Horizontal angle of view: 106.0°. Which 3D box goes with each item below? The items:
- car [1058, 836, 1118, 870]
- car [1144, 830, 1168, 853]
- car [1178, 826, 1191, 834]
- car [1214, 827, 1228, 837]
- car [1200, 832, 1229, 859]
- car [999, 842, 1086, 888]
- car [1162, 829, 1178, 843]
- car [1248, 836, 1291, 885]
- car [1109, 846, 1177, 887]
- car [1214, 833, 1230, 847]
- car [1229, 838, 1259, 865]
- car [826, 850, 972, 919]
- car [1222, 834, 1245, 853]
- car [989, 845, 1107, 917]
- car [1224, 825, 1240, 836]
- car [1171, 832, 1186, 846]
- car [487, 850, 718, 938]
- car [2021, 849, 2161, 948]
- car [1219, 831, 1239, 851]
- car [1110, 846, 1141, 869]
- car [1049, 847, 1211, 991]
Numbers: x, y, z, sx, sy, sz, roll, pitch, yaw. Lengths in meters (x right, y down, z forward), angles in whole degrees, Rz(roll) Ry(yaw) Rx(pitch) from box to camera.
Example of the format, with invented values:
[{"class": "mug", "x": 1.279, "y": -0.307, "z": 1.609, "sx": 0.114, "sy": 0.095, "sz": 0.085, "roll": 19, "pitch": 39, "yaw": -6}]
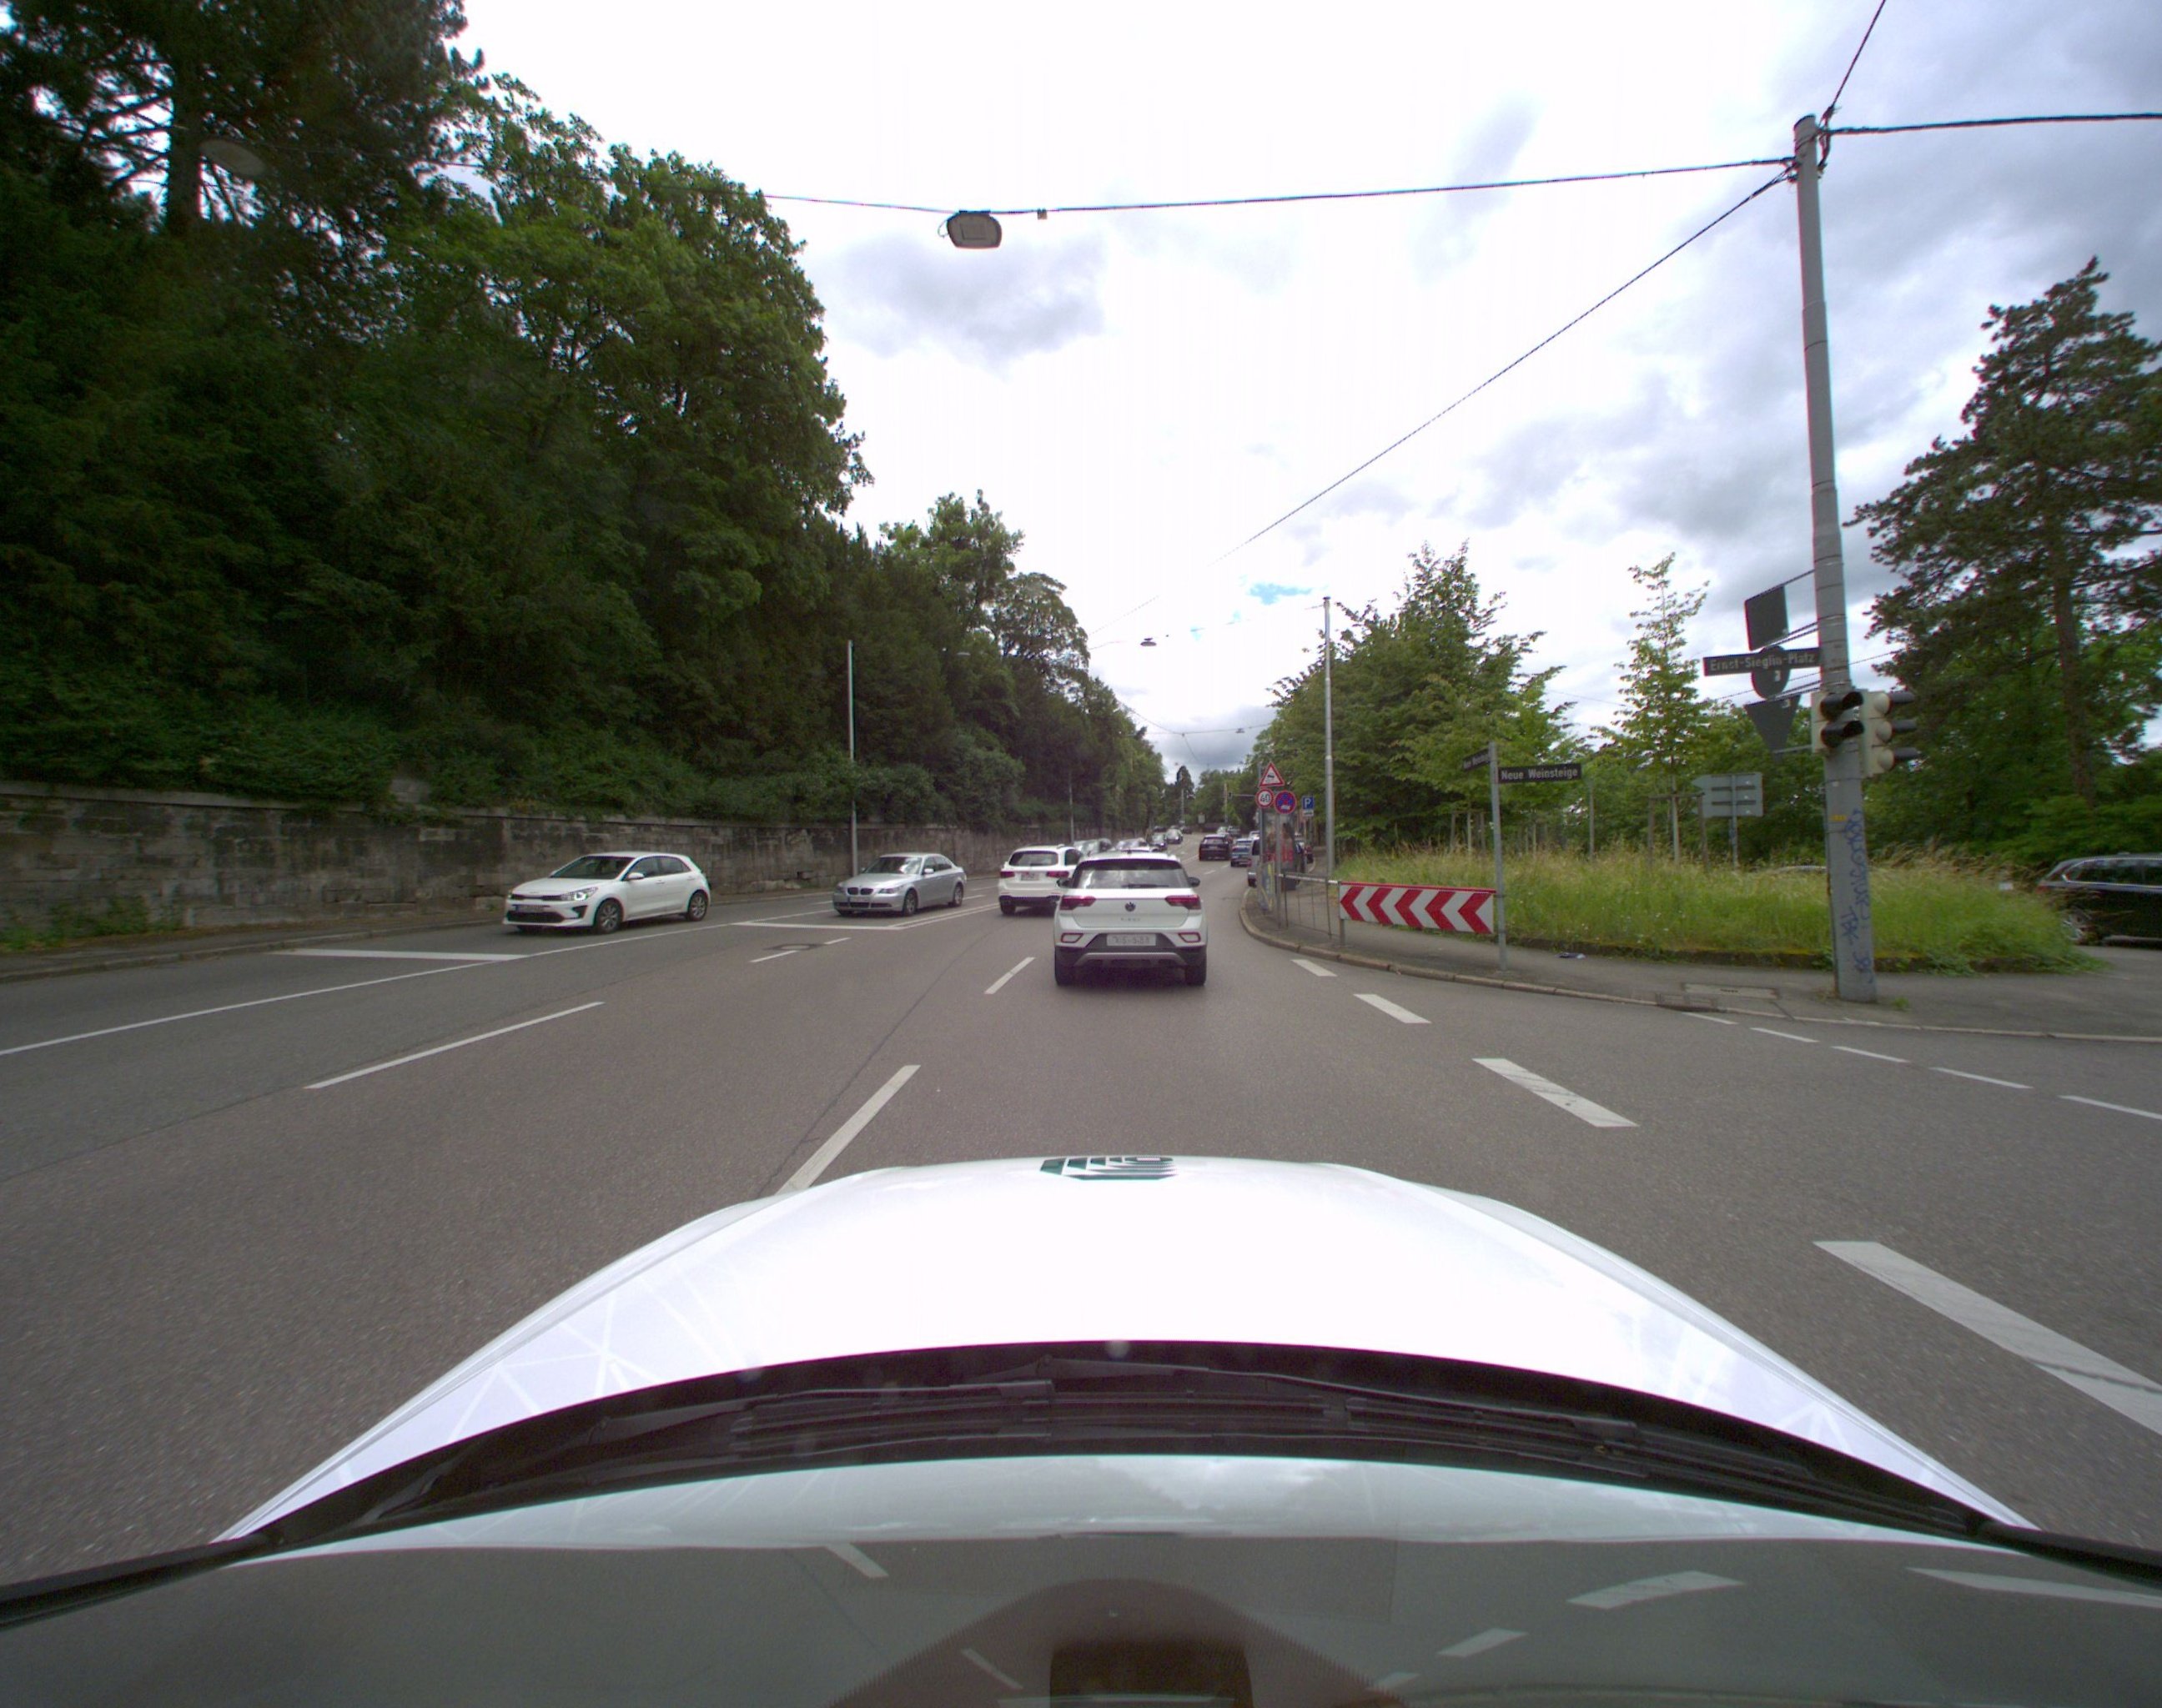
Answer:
[{"class": "car", "x": 0.396, "y": -0.078, "z": 37.694, "sx": 1.804, "sy": 1.440, "sz": 4.079, "roll": 0, "pitch": 2, "yaw": 15}, {"class": "car", "x": 6.879, "y": -1.118, "z": 74.350, "sx": 1.722, "sy": 2.013, "sz": 3.944, "roll": -1, "pitch": 1, "yaw": 11}, {"class": "car", "x": 18.907, "y": -4.417, "z": 148.778, "sx": 1.645, "sy": 1.450, "sz": 3.538, "roll": -1, "pitch": 1, "yaw": -7}, {"class": "car", "x": 21.271, "y": -3.376, "z": 123.958, "sx": 1.641, "sy": 1.450, "sz": 3.547, "roll": -1, "pitch": 1, "yaw": 1}, {"class": "car", "x": 8.759, "y": -0.597, "z": 53.476, "sx": 1.777, "sy": 1.636, "sz": 3.747, "roll": 0, "pitch": 2, "yaw": 9}, {"class": "car", "x": -1.379, "y": 0.353, "z": 31.010, "sx": 1.879, "sy": 1.567, "sz": 4.500, "roll": 1, "pitch": 1, "yaw": 17}, {"class": "car", "x": 10.137, "y": -2.025, "z": 92.611, "sx": 1.638, "sy": 1.450, "sz": 3.555, "roll": -1, "pitch": 2, "yaw": 8}, {"class": "car", "x": 7.084, "y": 0.202, "z": 30.590, "sx": 1.484, "sy": 1.749, "sz": 3.130, "roll": -1, "pitch": 1, "yaw": 13}, {"class": "car", "x": 2.603, "y": 0.453, "z": 32.958, "sx": 1.851, "sy": 1.534, "sz": 4.796, "roll": 0, "pitch": 1, "yaw": 15}, {"class": "car", "x": 14.386, "y": -1.410, "z": 82.799, "sx": 1.489, "sy": 1.327, "sz": 3.868, "roll": 0, "pitch": 3, "yaw": 12}, {"class": "car", "x": 9.195, "y": -0.183, "z": 45.899, "sx": 1.617, "sy": 1.419, "sz": 3.868, "roll": 0, "pitch": 2, "yaw": 12}, {"class": "car", "x": -4.387, "y": 0.656, "z": 20.445, "sx": 1.744, "sy": 1.442, "sz": 4.496, "roll": 1, "pitch": 1, "yaw": 14}, {"class": "car", "x": 11.456, "y": -0.827, "z": 61.227, "sx": 1.617, "sy": 1.340, "sz": 3.868, "roll": 0, "pitch": 3, "yaw": 12}, {"class": "car", "x": -0.695, "y": 0.584, "z": 20.848, "sx": 1.846, "sy": 1.605, "sz": 4.687, "roll": 0, "pitch": 1, "yaw": 12}, {"class": "car", "x": 20.529, "y": -3.213, "z": 110.910, "sx": 1.640, "sy": 1.450, "sz": 3.549, "roll": -1, "pitch": 1, "yaw": 2}, {"class": "car", "x": 12.321, "y": -1.915, "z": 102.574, "sx": 1.748, "sy": 1.707, "sz": 3.832, "roll": -1, "pitch": 1, "yaw": 8}, {"class": "car", "x": -9.011, "y": 0.664, "z": 15.790, "sx": 1.629, "sy": 1.405, "sz": 4.075, "roll": 1, "pitch": 1, "yaw": 9}, {"class": "car", "x": 19.605, "y": 0.743, "z": 14.108, "sx": 1.802, "sy": 1.677, "sz": 4.693, "roll": -3, "pitch": -2, "yaw": 12}, {"class": "car", "x": 13.798, "y": -1.215, "z": 76.147, "sx": 1.625, "sy": 1.819, "sz": 4.009, "roll": -3, "pitch": 0, "yaw": 8}, {"class": "car", "x": 3.026, "y": 0.212, "z": 54.756, "sx": 1.640, "sy": 1.517, "sz": 3.862, "roll": 0, "pitch": 0, "yaw": 10}, {"class": "car", "x": 0.652, "y": 0.706, "z": 10.976, "sx": 1.747, "sy": 1.553, "sz": 4.341, "roll": 0, "pitch": 0, "yaw": 3}]
